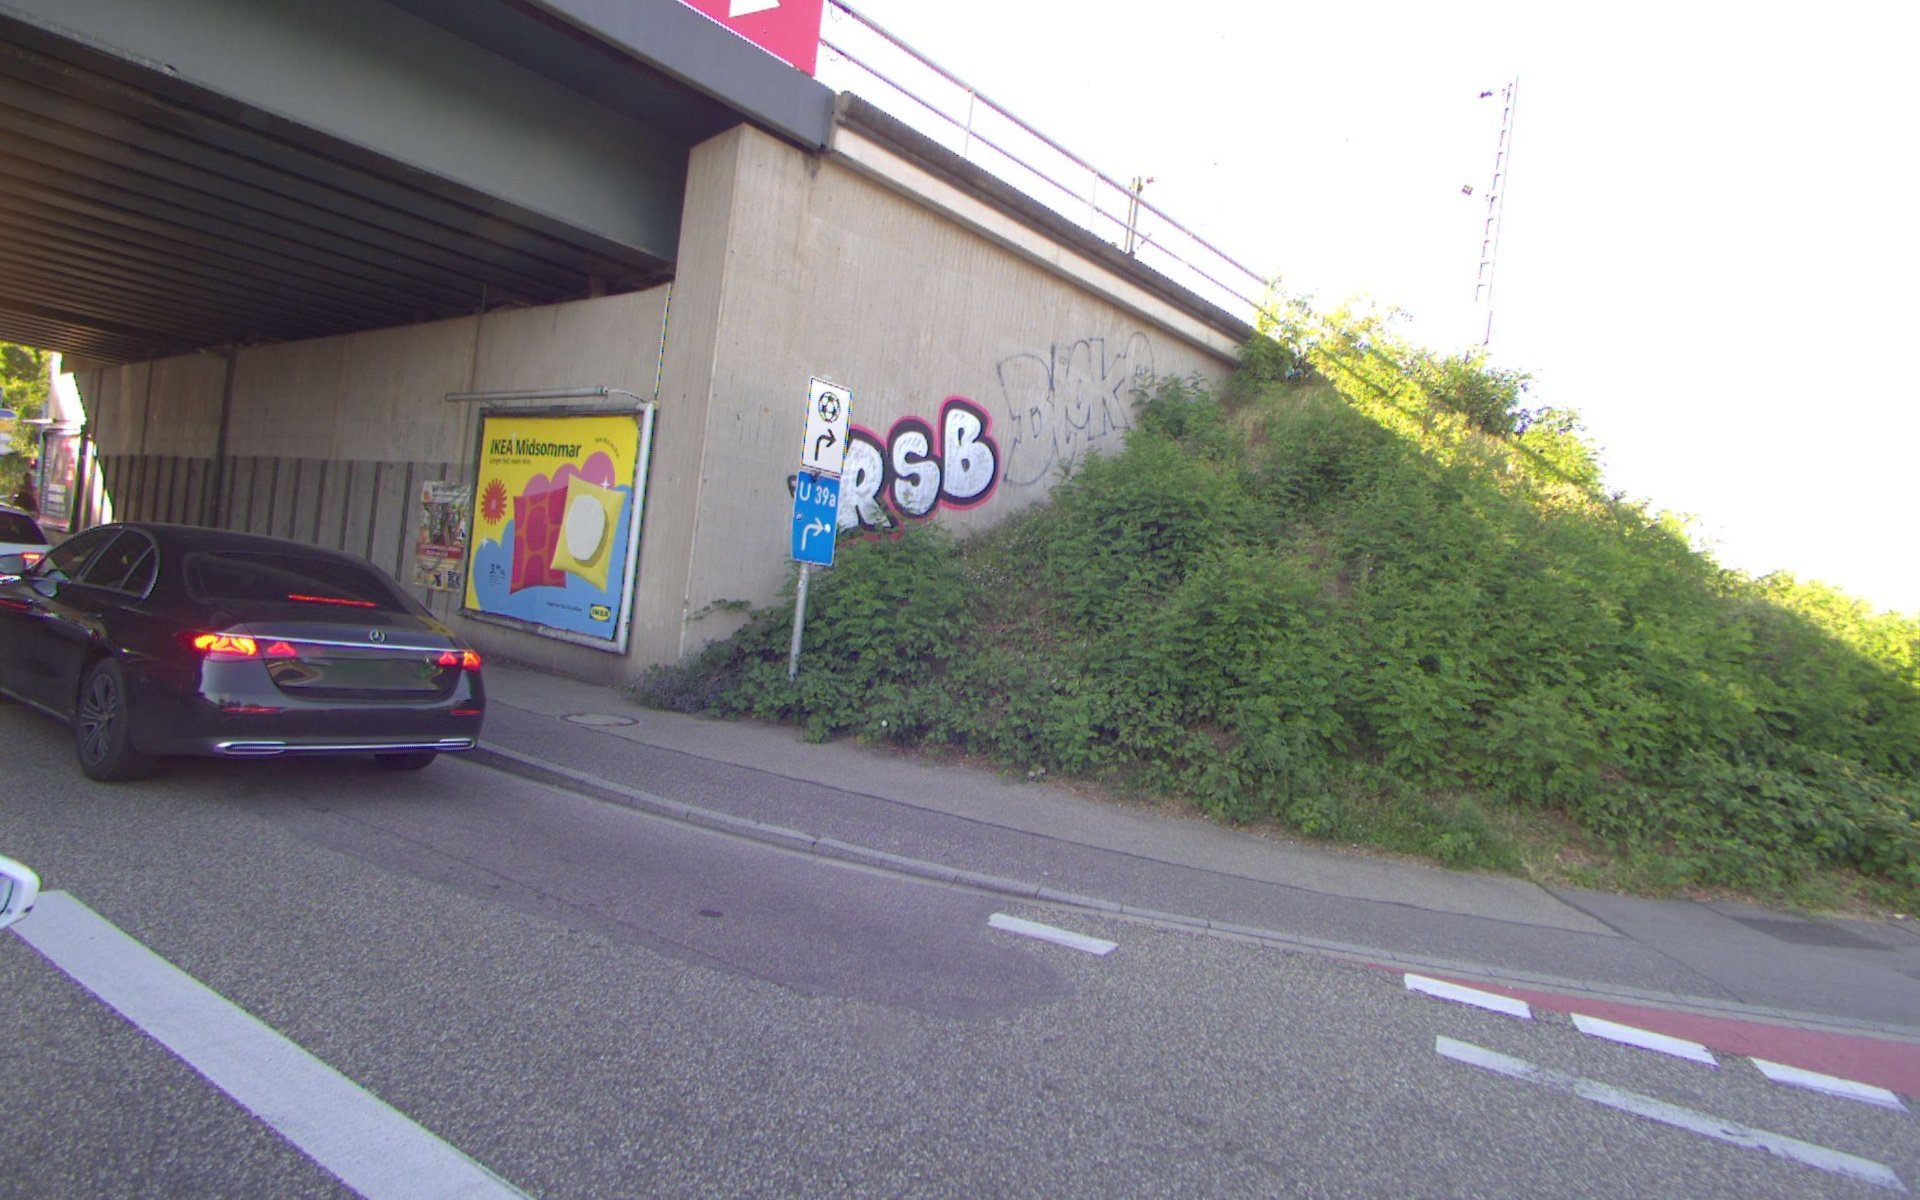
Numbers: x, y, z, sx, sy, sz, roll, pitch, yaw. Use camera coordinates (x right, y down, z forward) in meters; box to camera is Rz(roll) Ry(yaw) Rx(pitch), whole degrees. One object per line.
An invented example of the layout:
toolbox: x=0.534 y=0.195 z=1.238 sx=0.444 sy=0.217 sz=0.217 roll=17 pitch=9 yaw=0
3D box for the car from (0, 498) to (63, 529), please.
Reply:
car: x=-44.149 y=-4.100 z=47.227 sx=1.200 sy=1.094 sz=2.822 roll=6 pitch=-1 yaw=38

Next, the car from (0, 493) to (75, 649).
car: x=-11.114 y=-0.456 z=10.599 sx=3.772 sy=1.514 sz=1.772 roll=5 pitch=0 yaw=35

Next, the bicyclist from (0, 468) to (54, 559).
bicyclist: x=-20.951 y=-1.932 z=22.544 sx=0.821 sy=1.930 sz=0.681 roll=6 pitch=0 yaw=38

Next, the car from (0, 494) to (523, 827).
car: x=-5.230 y=0.217 z=6.910 sx=4.530 sy=1.472 sz=1.743 roll=7 pitch=0 yaw=33

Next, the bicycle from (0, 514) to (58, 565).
bicycle: x=-20.880 y=-1.368 z=22.449 sx=2.844 sy=0.975 sz=0.578 roll=5 pitch=-1 yaw=39
